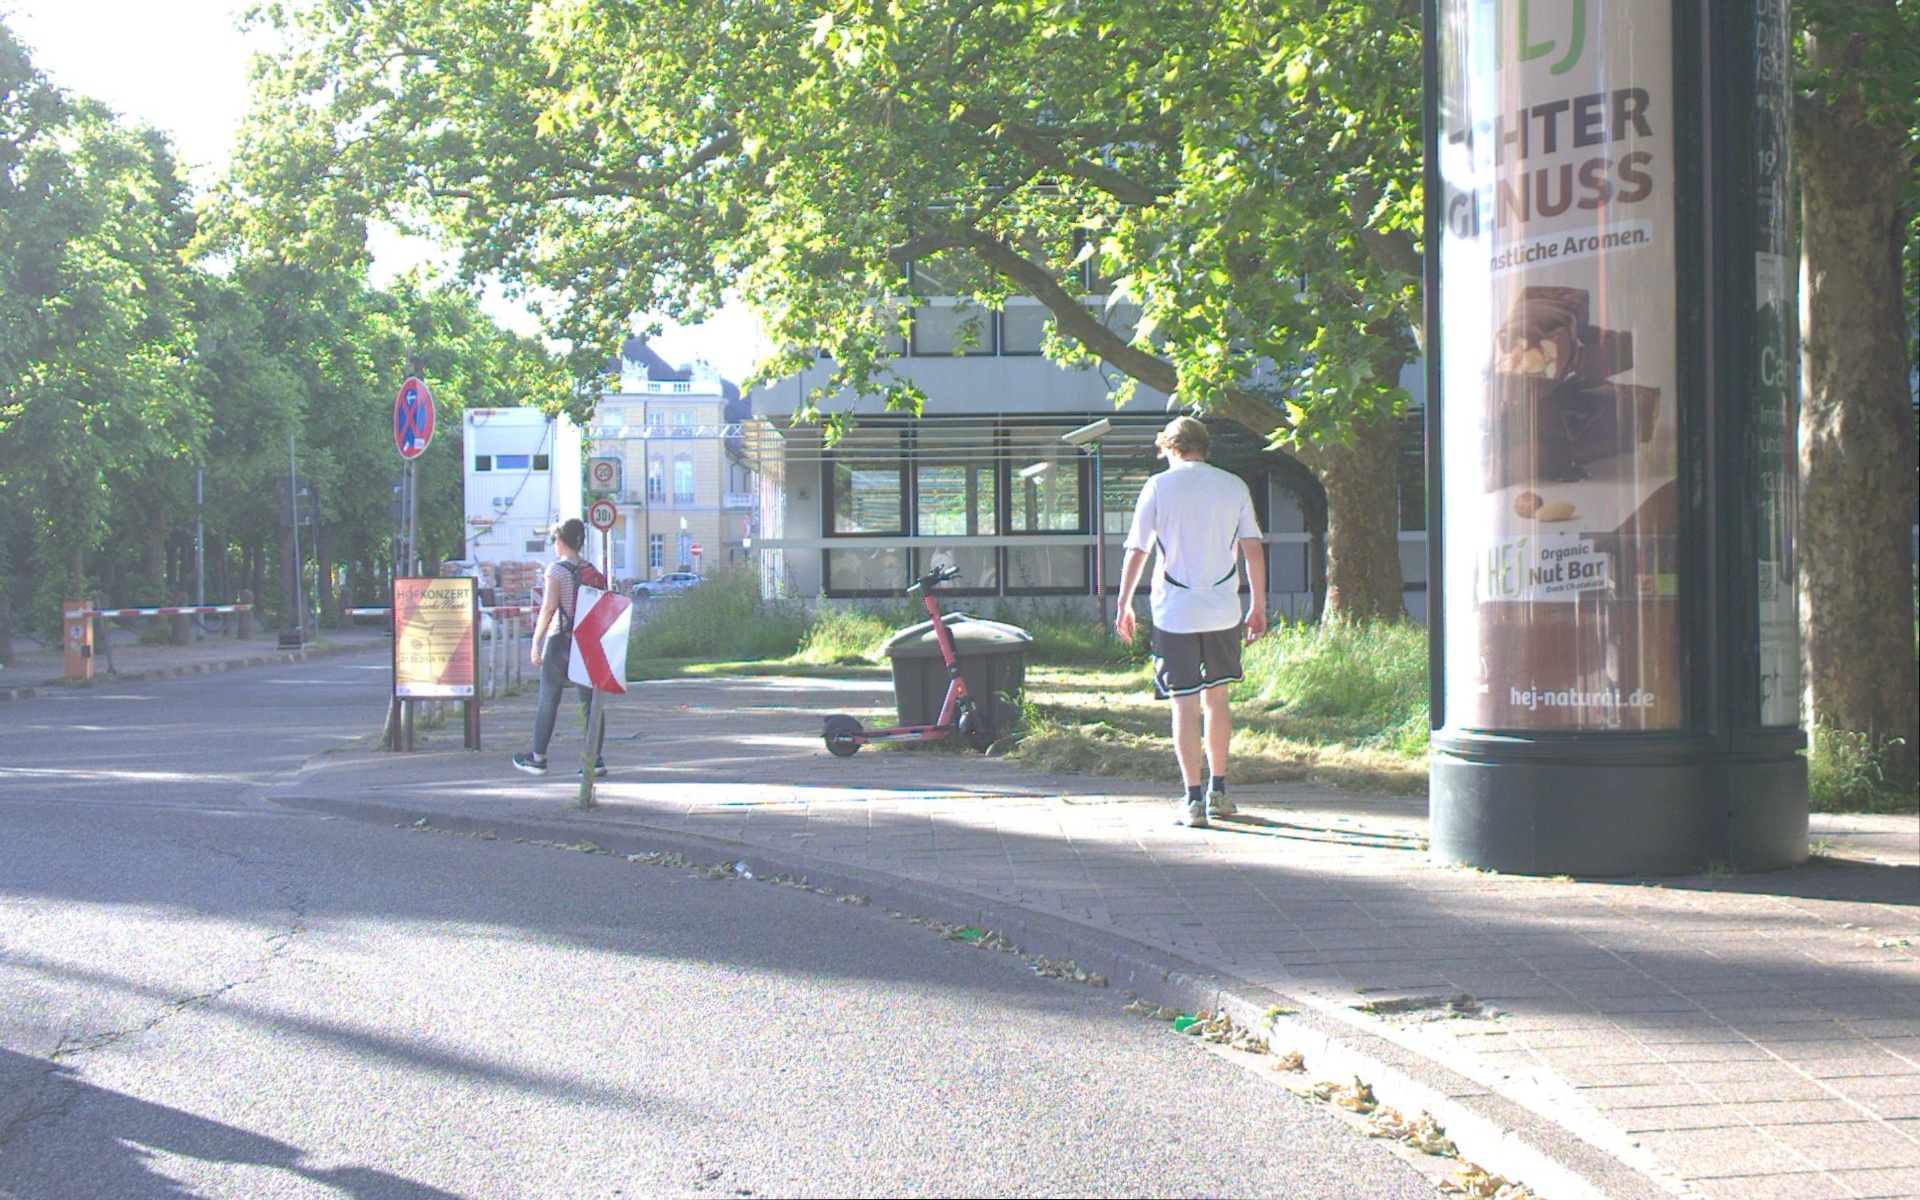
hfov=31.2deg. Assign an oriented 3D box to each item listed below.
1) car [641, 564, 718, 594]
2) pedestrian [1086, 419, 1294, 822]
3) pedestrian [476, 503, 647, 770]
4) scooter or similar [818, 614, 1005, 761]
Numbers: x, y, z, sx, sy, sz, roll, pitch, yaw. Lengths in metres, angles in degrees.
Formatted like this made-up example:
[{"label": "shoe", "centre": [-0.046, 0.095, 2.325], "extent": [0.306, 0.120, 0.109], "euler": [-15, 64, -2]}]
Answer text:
[{"label": "car", "centre": [-17.026, -1.266, 209.066], "extent": [4.557, 1.784, 2.000], "euler": [0, 1, -2]}, {"label": "pedestrian", "centre": [1.062, 0.089, 16.117], "extent": [0.745, 1.807, 1.134], "euler": [1, 0, -6]}, {"label": "pedestrian", "centre": [-2.492, 0.219, 21.439], "extent": [0.708, 1.618, 0.939], "euler": [0, 0, -32]}, {"label": "scooter or similar", "centre": [-0.323, 0.572, 22.579], "extent": [1.146, 0.911, 0.419], "euler": [-2, 0, -8]}]
